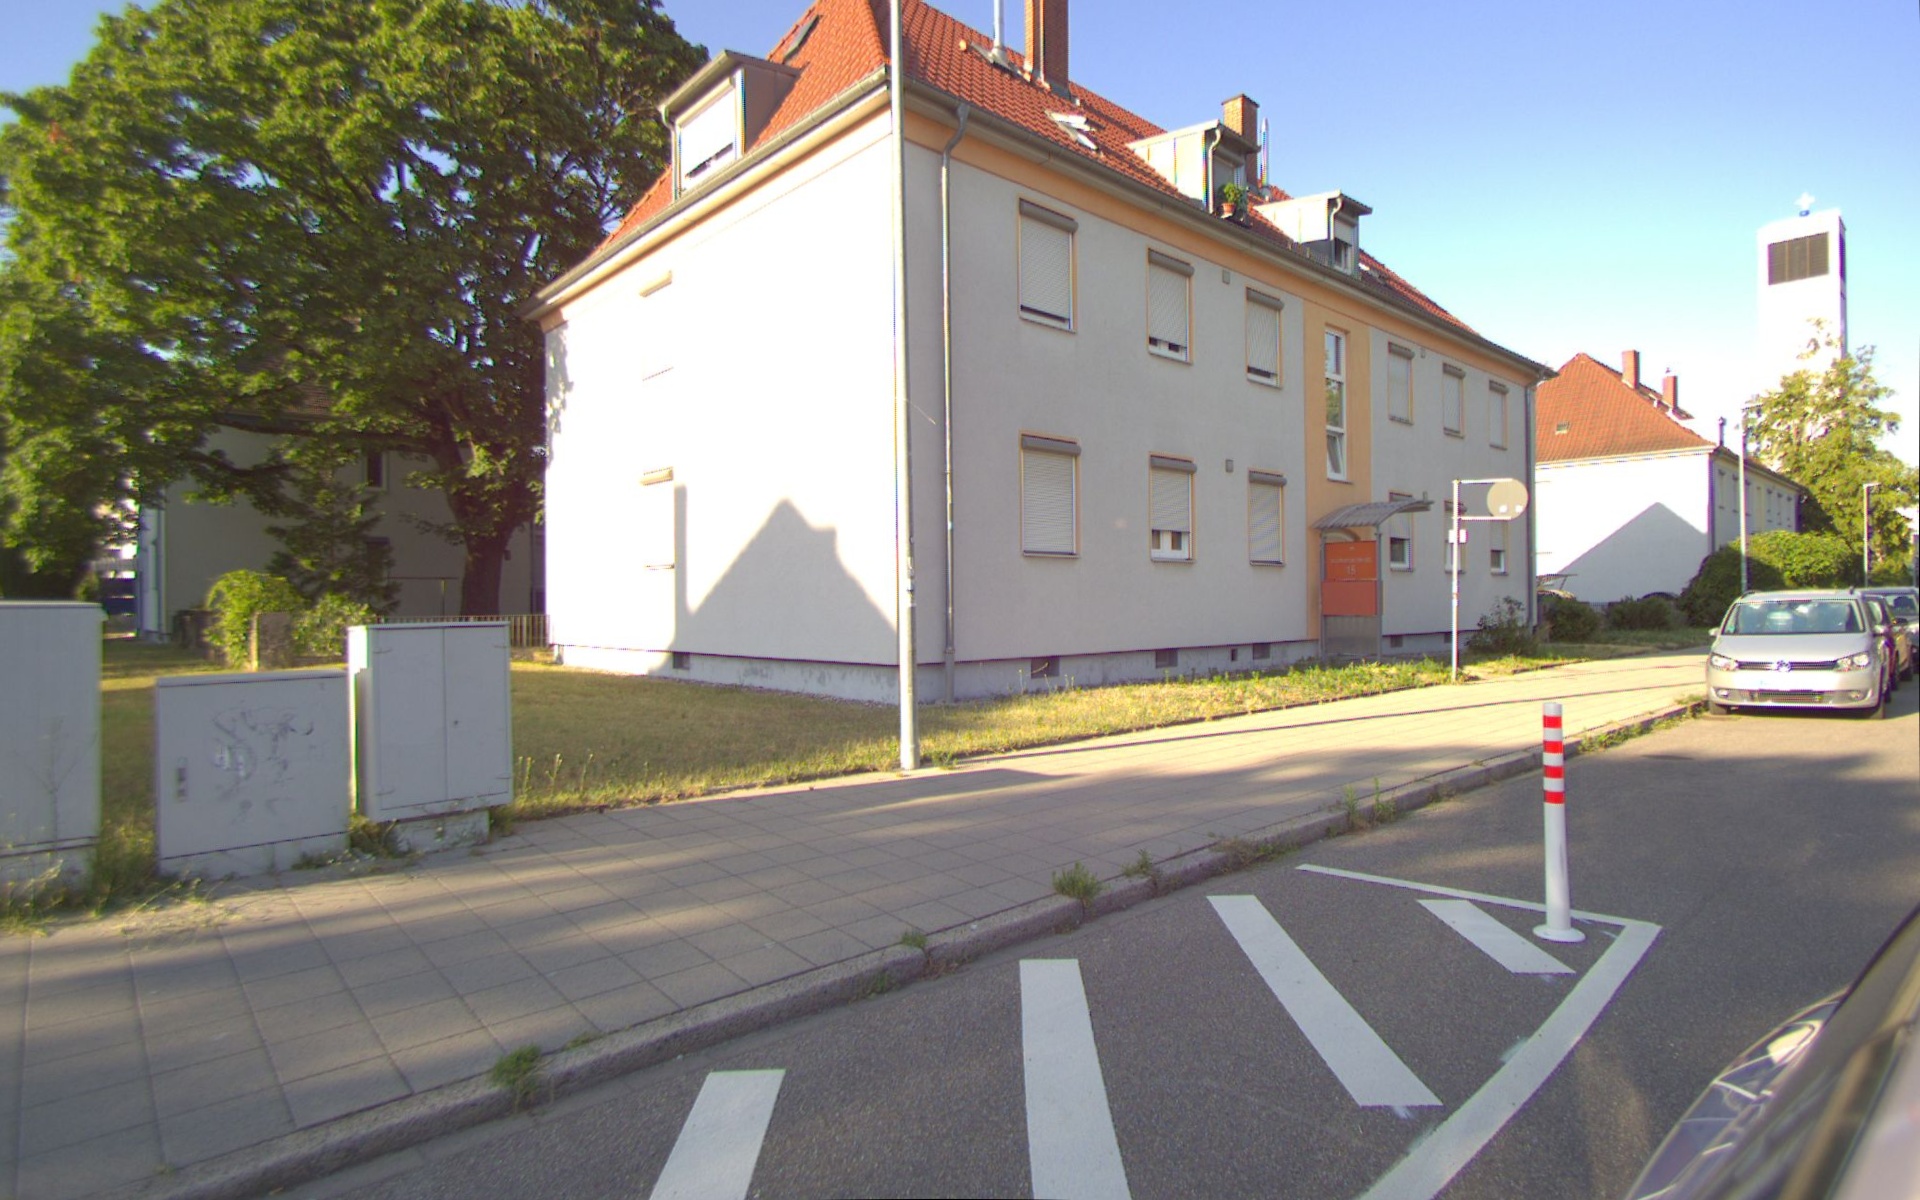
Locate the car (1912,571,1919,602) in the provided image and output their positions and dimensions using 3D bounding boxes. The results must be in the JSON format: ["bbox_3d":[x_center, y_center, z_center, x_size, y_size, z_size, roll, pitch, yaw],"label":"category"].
[{"bbox_3d":[55.483,-0.825,57.488,3.935,1.717,1.845,-1,-1,-44],"label":"car"}]

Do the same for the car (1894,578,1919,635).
[{"bbox_3d":[30.790,0.150,31.827,3.935,1.717,1.845,-1,-1,-44],"label":"car"}]

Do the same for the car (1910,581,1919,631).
[{"bbox_3d":[34.810,0.162,35.567,3.935,1.717,1.845,-1,-1,-44],"label":"car"}]

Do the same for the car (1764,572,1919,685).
[{"bbox_3d":[15.381,0.435,17.450,3.935,1.717,1.845,-1,-1,-44],"label":"car"}]

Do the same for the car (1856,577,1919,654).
[{"bbox_3d":[22.879,0.320,24.199,3.935,1.717,1.845,-1,-1,-44],"label":"car"}]

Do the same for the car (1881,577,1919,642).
[{"bbox_3d":[27.095,0.219,28.194,3.935,1.717,1.845,-1,-1,-44],"label":"car"}]

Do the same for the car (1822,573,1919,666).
[{"bbox_3d":[18.982,0.349,20.553,3.935,1.717,1.845,-1,-1,-44],"label":"car"}]

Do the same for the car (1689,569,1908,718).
[{"bbox_3d":[11.465,0.506,13.745,3.935,1.717,1.845,-1,-1,-44],"label":"car"}]
